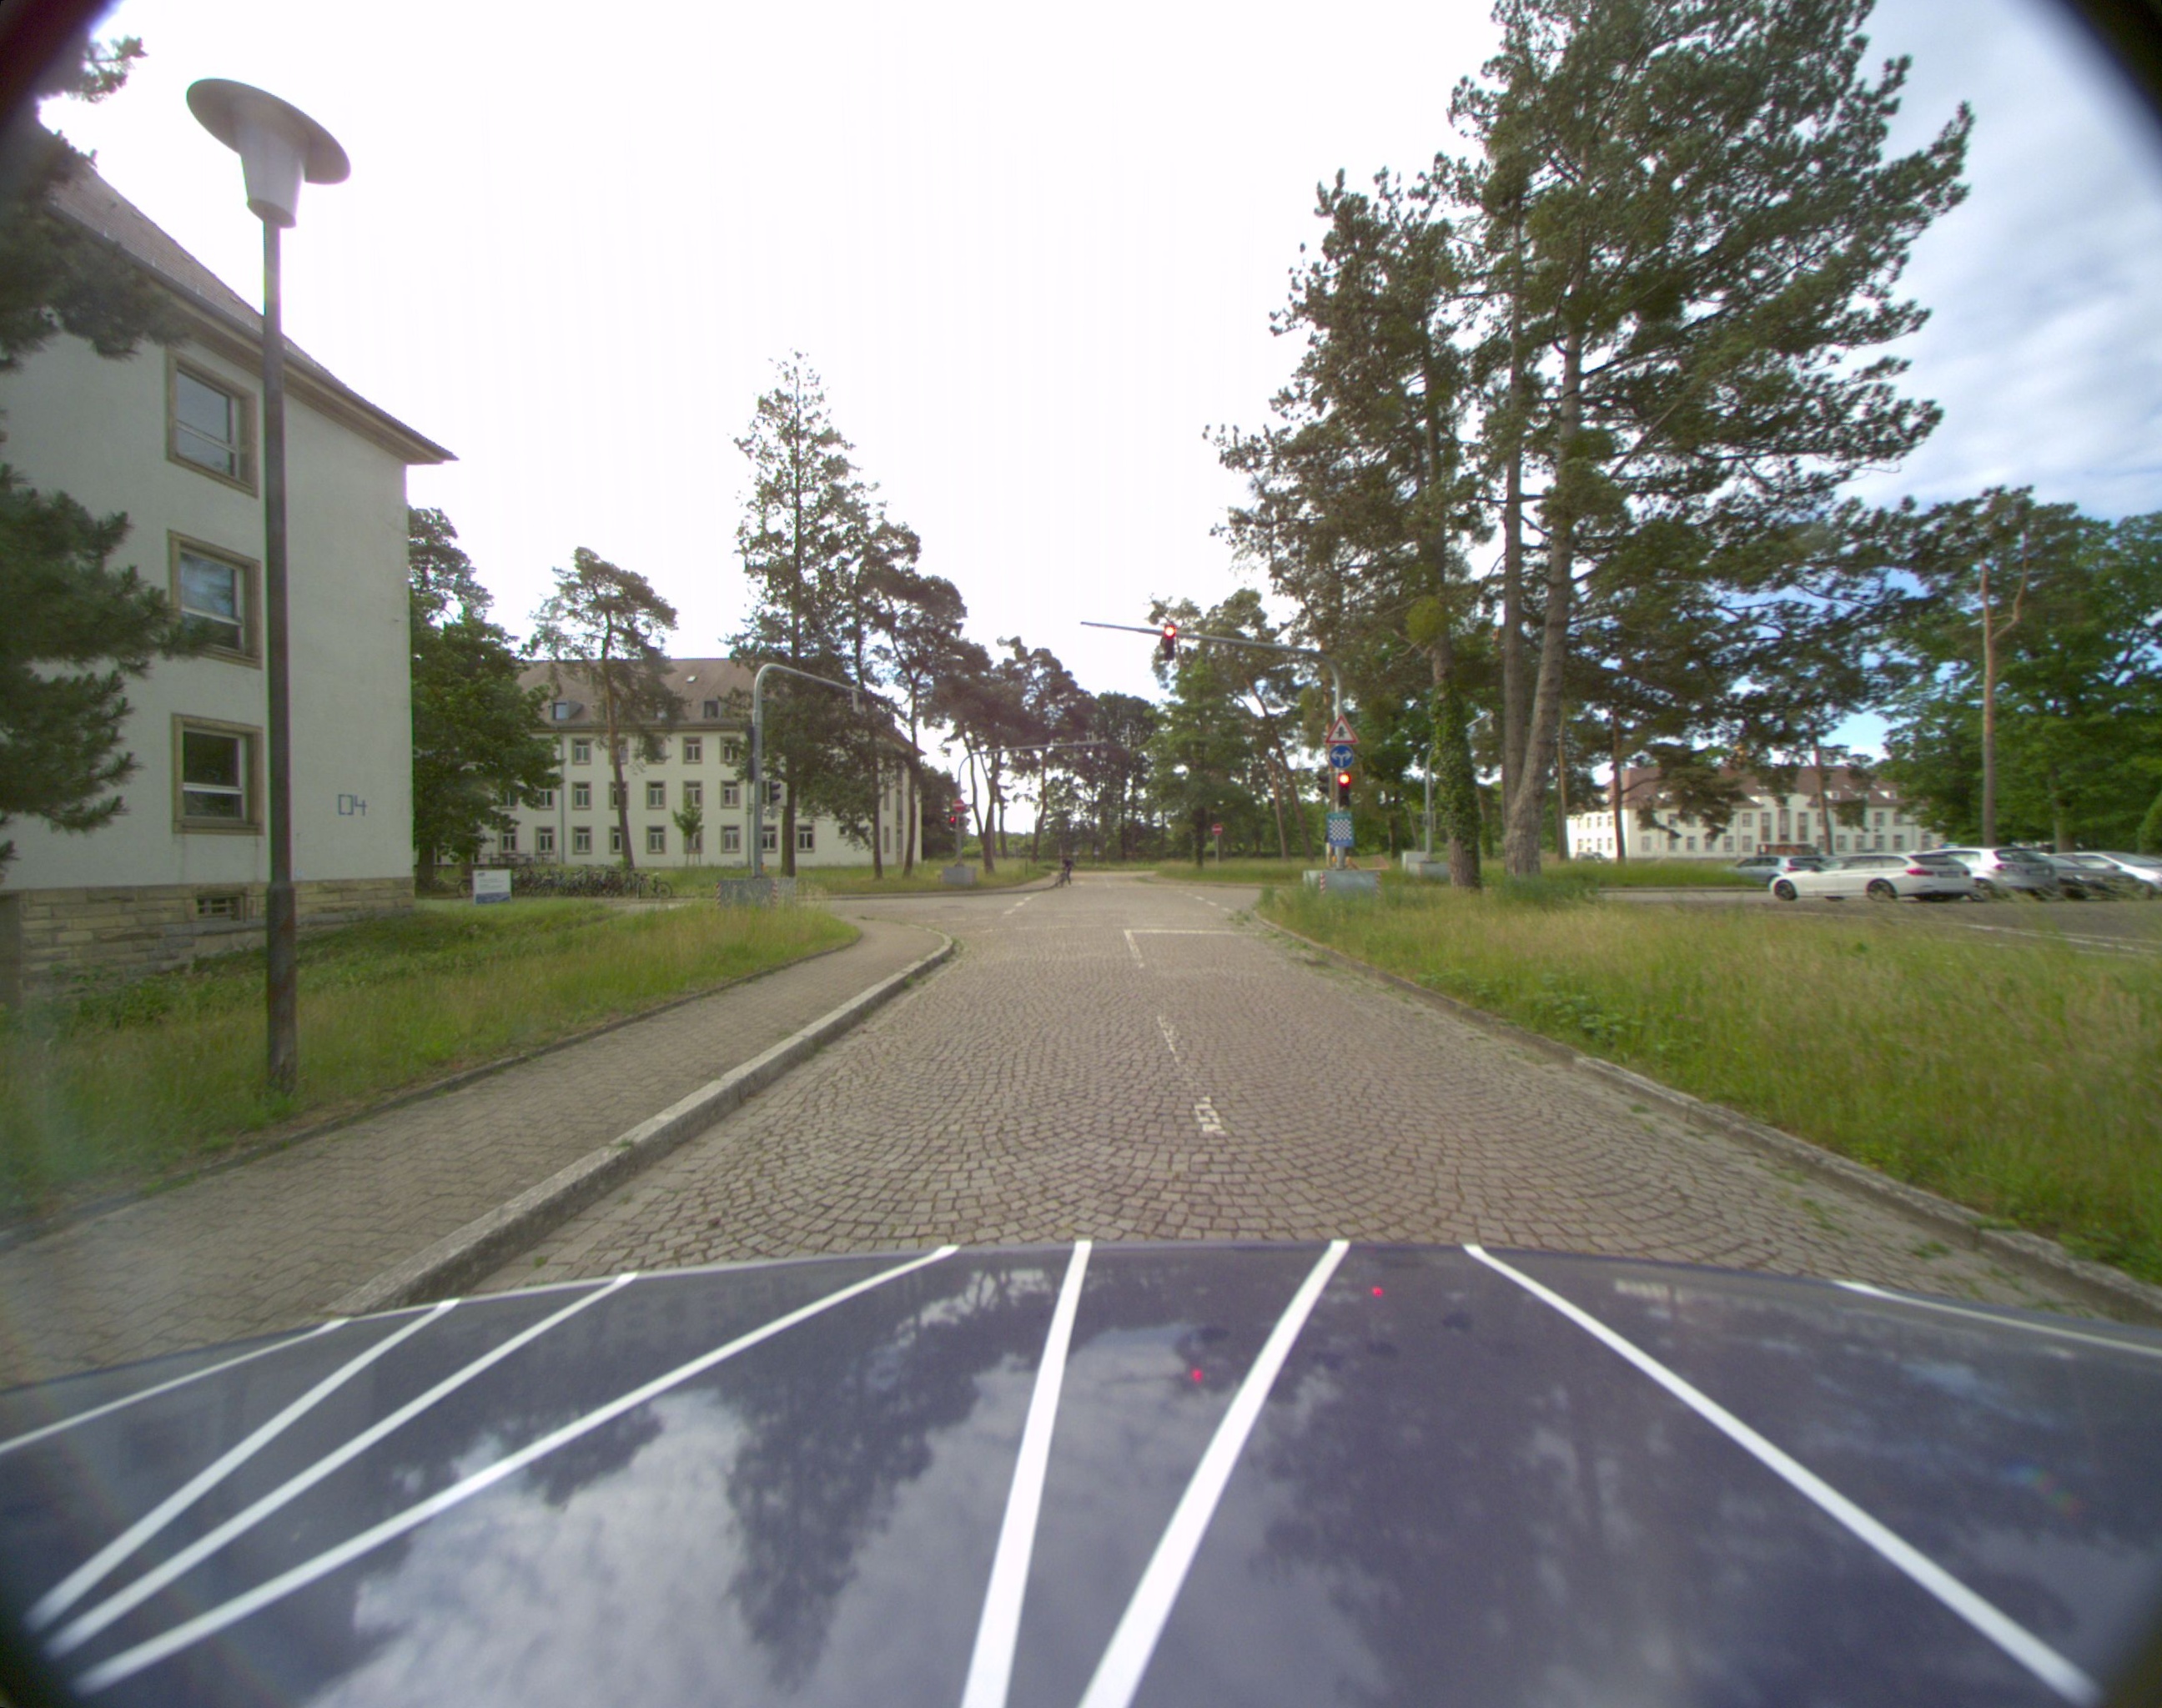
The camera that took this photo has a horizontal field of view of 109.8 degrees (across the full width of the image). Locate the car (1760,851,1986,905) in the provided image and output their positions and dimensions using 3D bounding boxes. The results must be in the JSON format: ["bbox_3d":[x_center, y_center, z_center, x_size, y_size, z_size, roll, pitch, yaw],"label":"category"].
[{"bbox_3d":[23.426,0.709,22.796,1.840,1.441,4.656,-1,-2,-1],"label":"car"}]

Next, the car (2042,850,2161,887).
[{"bbox_3d":[46.078,0.660,33.359,1.840,1.549,4.585,-1,-2,-1],"label":"car"}]

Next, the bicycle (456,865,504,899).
[{"bbox_3d":[-24.620,1.137,31.172,0.572,1.324,1.837,-1,0,-4],"label":"bicycle"}]

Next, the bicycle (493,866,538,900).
[{"bbox_3d":[-23.310,1.171,31.376,0.572,1.324,1.837,-1,0,-4],"label":"bicycle"}]

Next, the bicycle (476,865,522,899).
[{"bbox_3d":[-23.909,1.121,31.234,0.572,1.324,1.837,-1,0,-4],"label":"bicycle"}]

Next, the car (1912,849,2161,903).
[{"bbox_3d":[28.692,0.660,23.123,1.839,1.460,4.586,-1,-1,1],"label":"car"}]

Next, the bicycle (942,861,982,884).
[{"bbox_3d":[-5.835,0.918,37.268,1.836,1.079,0.572,-1,2,-1],"label":"bicycle"}]

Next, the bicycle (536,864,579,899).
[{"bbox_3d":[-21.417,1.105,31.126,0.572,1.324,1.837,-1,0,-4],"label":"bicycle"}]

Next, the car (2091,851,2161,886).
[{"bbox_3d":[49.103,0.632,33.926,1.840,1.564,4.585,-1,-2,-1],"label":"car"}]

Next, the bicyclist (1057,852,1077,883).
[{"bbox_3d":[-0.732,0.697,40.593,0.963,1.626,0.918,-1,0,4],"label":"bicyclist"}]

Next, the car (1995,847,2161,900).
[{"bbox_3d":[31.443,0.599,23.357,1.736,1.512,4.115,-1,-2,1],"label":"car"}]

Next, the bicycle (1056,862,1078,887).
[{"bbox_3d":[-0.727,1.093,40.643,0.963,1.268,2.164,-1,0,4],"label":"bicycle"}]

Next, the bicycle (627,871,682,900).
[{"bbox_3d":[-16.621,1.213,29.611,1.836,1.079,0.573,-1,2,4],"label":"bicycle"}]

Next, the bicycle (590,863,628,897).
[{"bbox_3d":[-19.364,1.062,31.207,0.482,1.324,1.837,-1,0,-4],"label":"bicycle"}]

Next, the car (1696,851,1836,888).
[{"bbox_3d":[30.604,0.732,34.151,1.841,1.537,4.583,0,-2,-7],"label":"car"}]

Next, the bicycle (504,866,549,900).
[{"bbox_3d":[-22.704,1.150,31.167,0.572,1.324,1.837,-1,0,-4],"label":"bicycle"}]

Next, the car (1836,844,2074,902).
[{"bbox_3d":[26.038,0.581,22.945,1.840,1.568,4.585,-1,-2,-1],"label":"car"}]

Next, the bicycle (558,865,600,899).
[{"bbox_3d":[-20.562,1.112,31.170,0.572,1.324,1.837,-1,0,-4],"label":"bicycle"}]

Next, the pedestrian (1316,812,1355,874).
[{"bbox_3d":[6.400,-0.273,19.128,0.882,1.509,0.822,0,0,15],"label":"pedestrian"}]

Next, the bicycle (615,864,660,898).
[{"bbox_3d":[-18.237,1.094,31.297,0.572,1.324,1.839,-1,0,9],"label":"bicycle"}]

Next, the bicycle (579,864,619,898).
[{"bbox_3d":[-19.796,1.078,31.224,0.572,1.324,1.837,-1,0,-4],"label":"bicycle"}]

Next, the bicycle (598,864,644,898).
[{"bbox_3d":[-18.865,1.073,31.197,0.572,1.324,1.839,-1,0,9],"label":"bicycle"}]

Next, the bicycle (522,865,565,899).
[{"bbox_3d":[-21.982,1.125,31.106,0.572,1.324,1.837,-1,0,-4],"label":"bicycle"}]
